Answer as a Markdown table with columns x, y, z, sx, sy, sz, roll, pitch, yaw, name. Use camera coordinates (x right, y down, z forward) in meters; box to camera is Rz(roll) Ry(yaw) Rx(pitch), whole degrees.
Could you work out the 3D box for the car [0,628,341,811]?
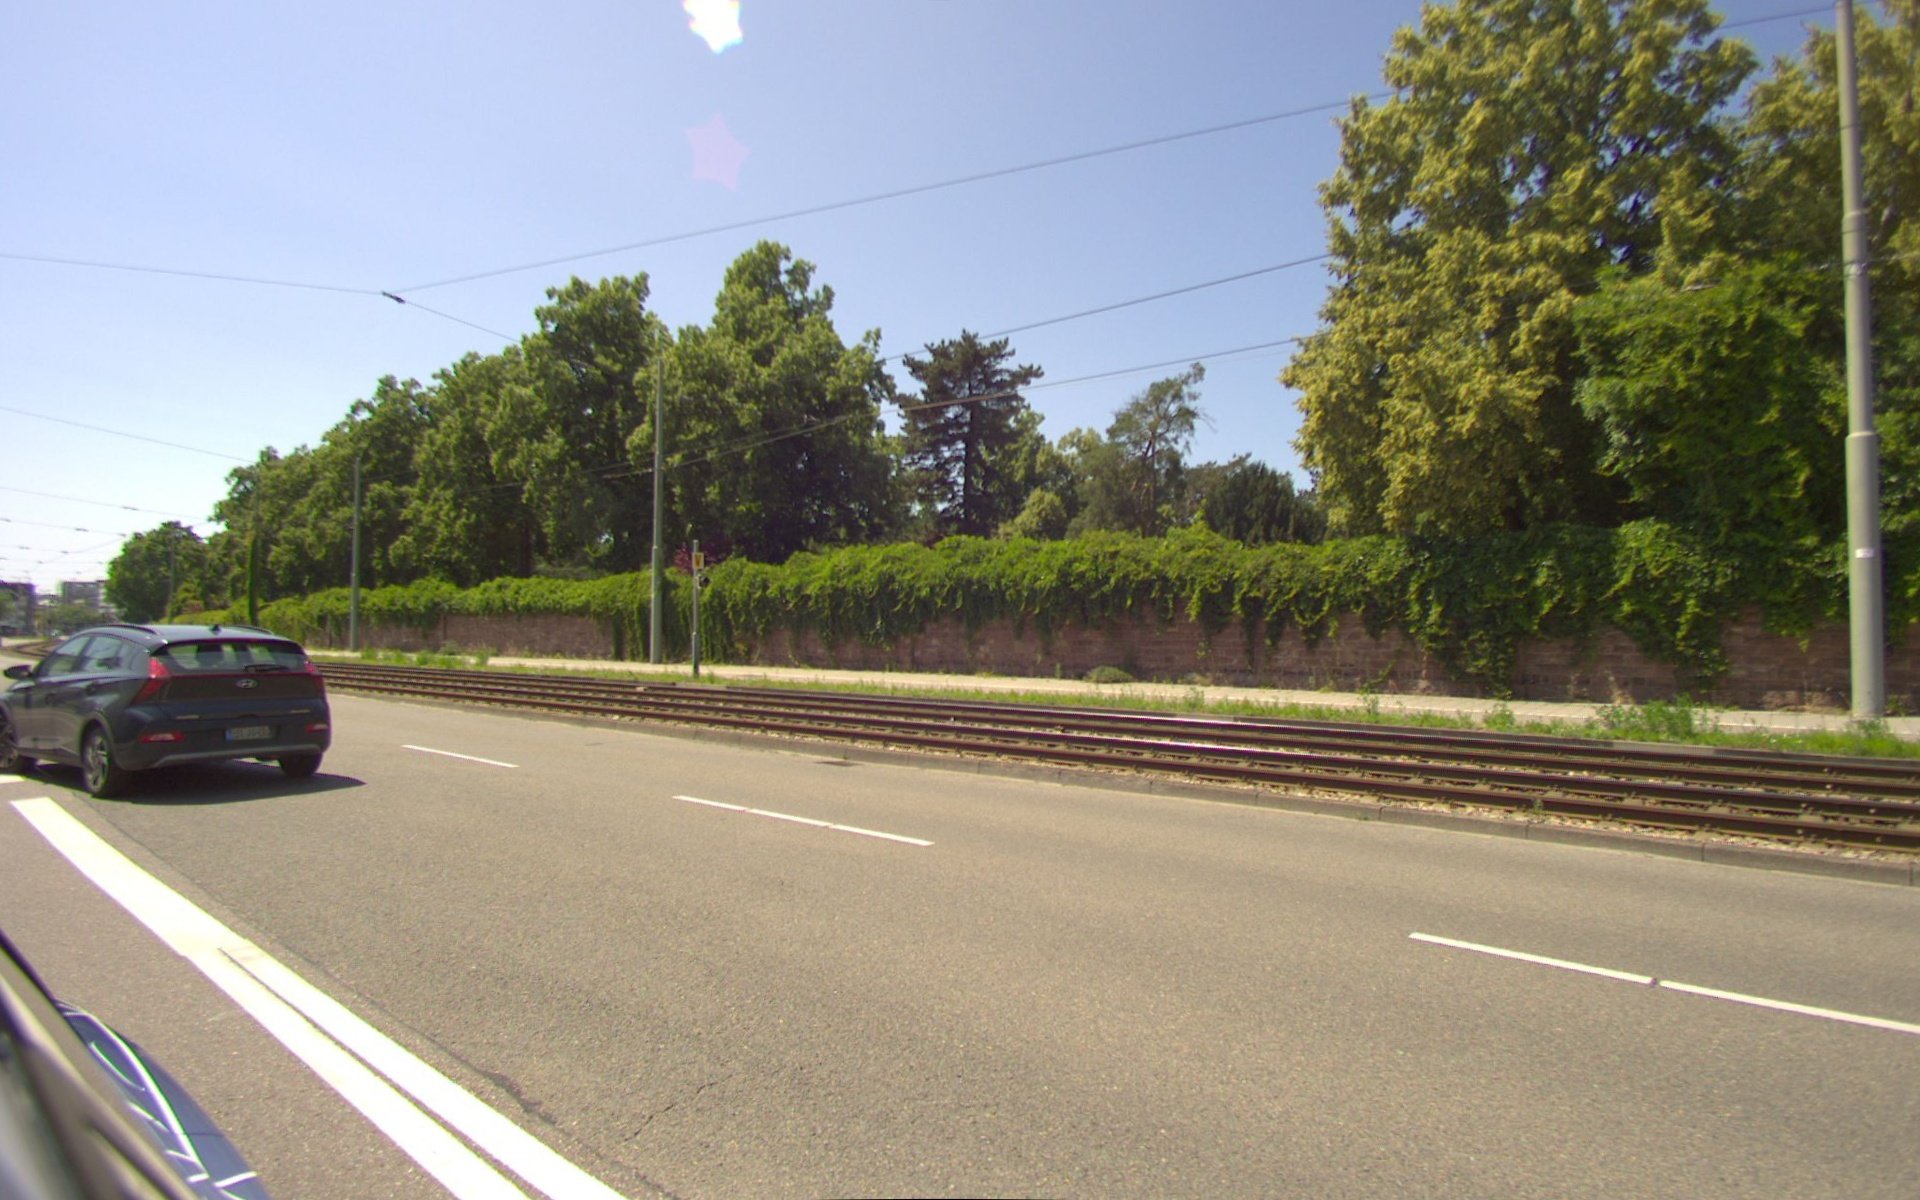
| x | y | z | sx | sy | sz | roll | pitch | yaw | name |
| --- | --- | --- | --- | --- | --- | --- | --- | --- | --- |
| -7.989 | 1.006 | 9.916 | 4.130 | 1.433 | 1.699 | -1 | -2 | 34 | car |
